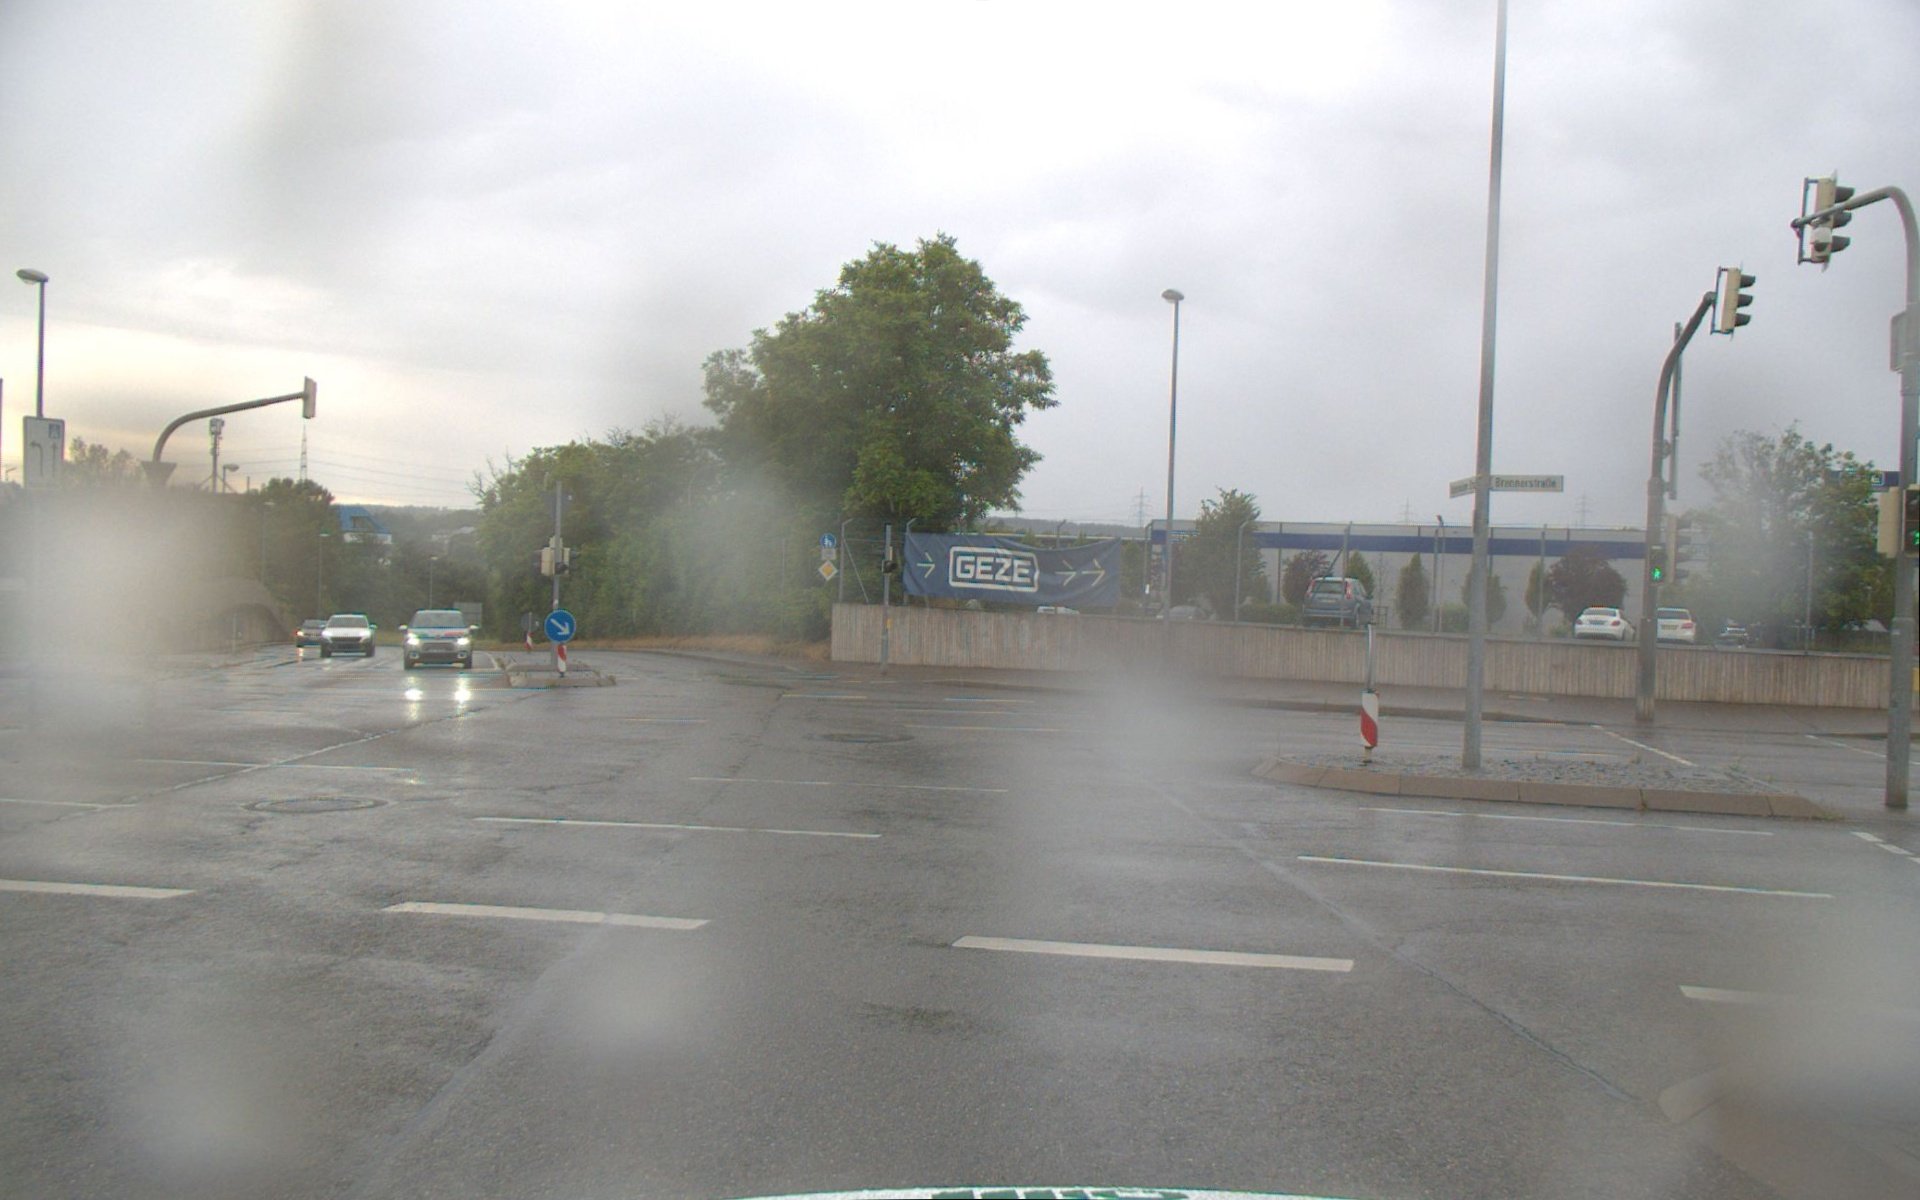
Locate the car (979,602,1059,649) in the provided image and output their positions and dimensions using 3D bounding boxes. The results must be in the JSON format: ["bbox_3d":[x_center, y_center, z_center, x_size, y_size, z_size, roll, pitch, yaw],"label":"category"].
[{"bbox_3d":[2.085,0.890,57.868,1.707,1.597,3.530,1,-1,22],"label":"car"}]

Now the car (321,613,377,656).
[{"bbox_3d":[-22.877,1.279,62.029,1.693,1.521,3.981,1,-1,-17],"label":"car"}]

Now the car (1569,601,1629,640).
[{"bbox_3d":[24.702,0.793,63.860,1.782,1.459,4.099,1,-1,27],"label":"car"}]

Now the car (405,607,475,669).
[{"bbox_3d":[-13.551,0.981,43.181,1.635,1.521,3.981,1,-1,-17],"label":"car"}]

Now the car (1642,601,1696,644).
[{"bbox_3d":[27.102,0.872,63.205,1.820,1.552,4.102,1,-1,23],"label":"car"}]

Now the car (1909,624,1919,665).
[{"bbox_3d":[40.624,1.857,68.450,1.884,1.617,3.787,1,0,24],"label":"car"}]

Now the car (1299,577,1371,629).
[{"bbox_3d":[12.058,0.108,53.078,1.707,1.580,3.530,1,-1,22],"label":"car"}]

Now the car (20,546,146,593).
[{"bbox_3d":[-34.173,-1.181,64.473,3.902,1.614,1.903,1,-2,9],"label":"car"}]

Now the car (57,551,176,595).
[{"bbox_3d":[-34.083,-1.087,66.843,3.902,1.614,1.903,1,-2,13],"label":"car"}]

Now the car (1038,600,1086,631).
[{"bbox_3d":[5.679,0.866,91.600,1.632,1.634,3.530,1,-1,22],"label":"car"}]

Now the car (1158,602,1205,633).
[{"bbox_3d":[11.835,0.933,88.236,1.632,1.634,3.530,1,-1,22],"label":"car"}]

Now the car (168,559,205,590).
[{"bbox_3d":[-43.393,-1.416,92.748,1.804,1.467,3.967,3,-3,-26],"label":"car"}]

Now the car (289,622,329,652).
[{"bbox_3d":[-35.870,2.040,91.088,1.873,1.481,3.971,1,0,-23],"label":"car"}]

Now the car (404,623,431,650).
[{"bbox_3d":[-44.060,2.968,134.259,1.964,2.049,3.978,1,0,-19],"label":"car"}]

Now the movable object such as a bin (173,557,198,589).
[{"bbox_3d":[-38.847,-1.350,82.940,1.070,1.462,1.434,3,-3,-26],"label":"movable object such as a bin"}]
